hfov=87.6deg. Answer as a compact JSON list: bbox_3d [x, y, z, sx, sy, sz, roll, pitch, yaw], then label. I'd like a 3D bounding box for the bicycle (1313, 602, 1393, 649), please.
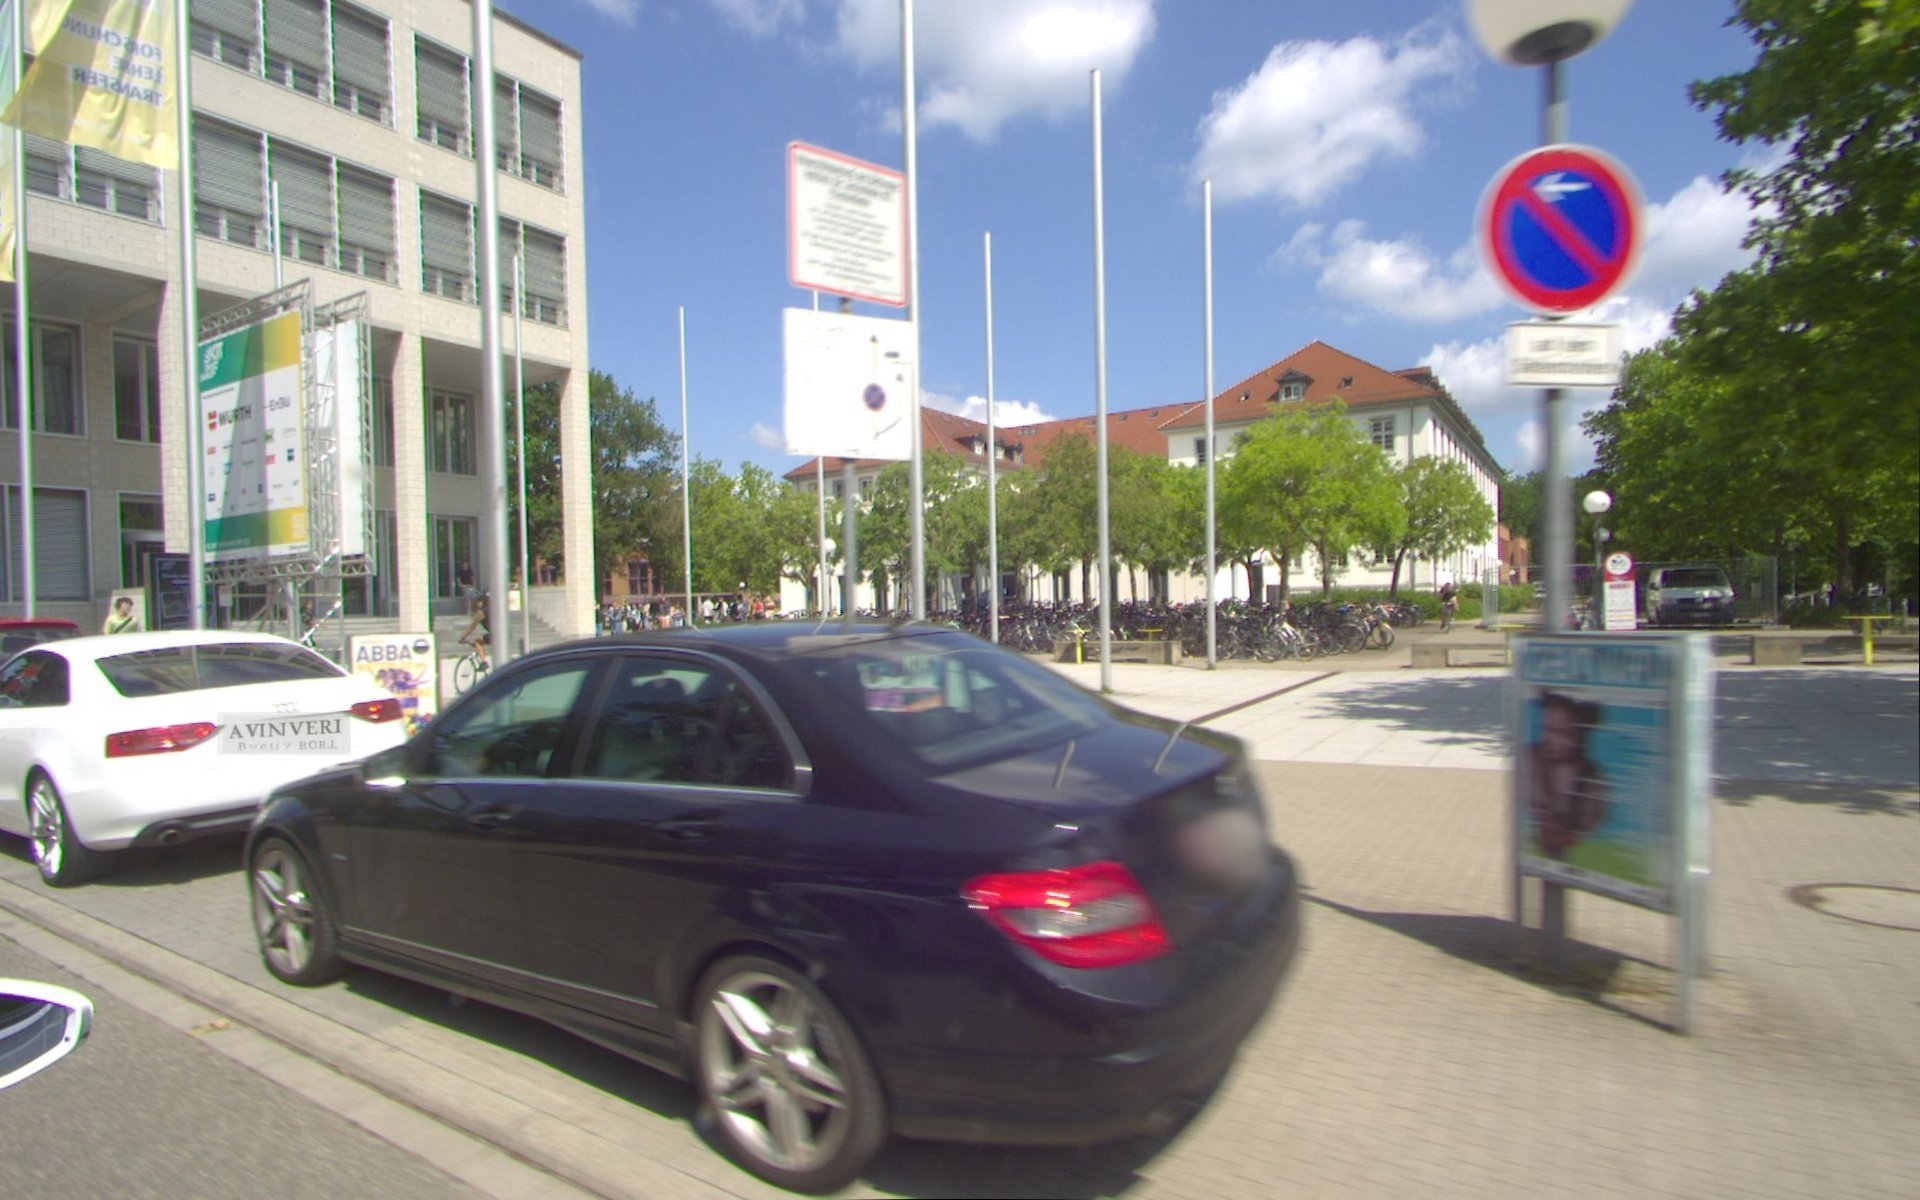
[{"bbox_3d":[9.915,0.644,25.282,1.733,1.113,0.604,-3,0,3],"label":"bicycle"}]

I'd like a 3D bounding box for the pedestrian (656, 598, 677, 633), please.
[{"bbox_3d":[-12.852,0.681,43.826,0.626,1.517,0.712,-2,-1,-35],"label":"pedestrian"}]

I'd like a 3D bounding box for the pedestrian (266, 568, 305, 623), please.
[{"bbox_3d":[-20.137,-0.131,29.896,0.707,1.606,0.715,-3,-1,36],"label":"pedestrian"}]

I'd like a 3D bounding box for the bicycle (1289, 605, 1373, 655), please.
[{"bbox_3d":[8.939,0.722,24.164,1.733,1.113,0.604,-3,0,3],"label":"bicycle"}]

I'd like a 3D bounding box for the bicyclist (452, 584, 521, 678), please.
[{"bbox_3d":[-8.219,0.522,17.379,0.919,1.585,0.660,-1,1,31],"label":"bicyclist"}]

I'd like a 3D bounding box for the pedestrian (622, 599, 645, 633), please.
[{"bbox_3d":[-14.123,0.701,43.288,0.708,1.449,0.629,-2,-1,-39],"label":"pedestrian"}]

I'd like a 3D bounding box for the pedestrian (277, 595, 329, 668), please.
[{"bbox_3d":[-15.227,0.714,23.217,0.724,1.661,0.691,-1,0,-5],"label":"pedestrian"}]

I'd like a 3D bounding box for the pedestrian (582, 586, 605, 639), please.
[{"bbox_3d":[-15.973,0.529,43.665,0.708,2.258,0.629,-2,0,-39],"label":"pedestrian"}]

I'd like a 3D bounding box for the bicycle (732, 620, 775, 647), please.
[{"bbox_3d":[-6.744,1.080,32.746,0.511,0.803,1.763,-1,0,20],"label":"bicycle"}]

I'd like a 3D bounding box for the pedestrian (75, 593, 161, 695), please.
[{"bbox_3d":[-15.029,0.766,17.879,0.987,1.763,0.915,-1,0,33],"label":"pedestrian"}]

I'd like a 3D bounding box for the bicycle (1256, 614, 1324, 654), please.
[{"bbox_3d":[9.417,0.970,28.610,1.733,1.113,0.604,-1,0,3],"label":"bicycle"}]

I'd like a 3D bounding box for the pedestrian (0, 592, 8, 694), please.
[{"bbox_3d":[-19.039,0.829,19.072,1.007,1.945,1.092,-1,0,34],"label":"pedestrian"}]

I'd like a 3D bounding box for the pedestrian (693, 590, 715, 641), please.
[{"bbox_3d":[-8.959,0.548,35.051,0.623,1.769,0.715,-2,0,-19],"label":"pedestrian"}]

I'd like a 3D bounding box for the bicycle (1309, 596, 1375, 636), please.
[{"bbox_3d":[11.582,0.482,30.375,1.733,1.113,0.604,-3,0,3],"label":"bicycle"}]

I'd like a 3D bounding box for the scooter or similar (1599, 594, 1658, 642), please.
[{"bbox_3d":[17.993,0.478,26.964,1.276,1.250,0.280,-2,1,19],"label":"scooter or similar"}]

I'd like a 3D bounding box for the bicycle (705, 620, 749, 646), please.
[{"bbox_3d":[-7.722,1.101,33.286,0.511,0.803,1.763,-1,0,20],"label":"bicycle"}]

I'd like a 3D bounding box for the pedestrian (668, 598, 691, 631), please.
[{"bbox_3d":[-12.523,0.638,44.649,0.705,1.455,0.631,-3,0,28],"label":"pedestrian"}]

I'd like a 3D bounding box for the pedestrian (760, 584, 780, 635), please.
[{"bbox_3d":[-8.647,0.447,45.611,0.622,2.258,0.716,-3,0,3],"label":"pedestrian"}]

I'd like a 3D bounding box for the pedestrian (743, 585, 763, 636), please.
[{"bbox_3d":[-9.457,0.477,45.747,0.622,2.258,0.716,-3,0,3],"label":"pedestrian"}]

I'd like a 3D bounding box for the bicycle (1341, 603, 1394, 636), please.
[{"bbox_3d":[15.177,0.723,37.328,1.733,1.113,0.516,-3,0,2],"label":"bicycle"}]

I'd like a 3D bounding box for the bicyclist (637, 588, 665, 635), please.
[{"bbox_3d":[-10.682,0.396,34.627,0.669,1.590,0.879,0,1,1],"label":"bicyclist"}]

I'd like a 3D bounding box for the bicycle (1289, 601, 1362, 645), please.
[{"bbox_3d":[9.759,0.609,26.764,1.733,1.113,0.604,-1,0,3],"label":"bicycle"}]

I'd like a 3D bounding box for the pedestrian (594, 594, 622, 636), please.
[{"bbox_3d":[-14.744,0.616,41.950,0.862,1.724,0.629,-2,0,-39],"label":"pedestrian"}]

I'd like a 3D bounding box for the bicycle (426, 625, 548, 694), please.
[{"bbox_3d":[-8.214,1.003,17.363,2.123,1.093,0.899,-1,1,32],"label":"bicycle"}]

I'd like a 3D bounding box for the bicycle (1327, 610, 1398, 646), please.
[{"bbox_3d":[11.309,0.784,28.136,1.733,0.967,0.604,-1,0,3],"label":"bicycle"}]

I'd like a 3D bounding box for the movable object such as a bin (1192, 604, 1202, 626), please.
[{"bbox_3d":[11.402,0.710,48.179,0.383,1.069,0.366,1,1,28],"label":"movable object such as a bin"}]

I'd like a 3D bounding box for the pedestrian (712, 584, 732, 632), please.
[{"bbox_3d":[-11.382,0.390,47.905,0.702,2.258,0.634,-3,0,3],"label":"pedestrian"}]

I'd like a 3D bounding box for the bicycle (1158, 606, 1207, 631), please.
[{"bbox_3d":[8.619,0.735,38.790,1.733,0.880,0.604,-3,-1,2],"label":"bicycle"}]

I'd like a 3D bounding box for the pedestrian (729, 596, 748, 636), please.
[{"bbox_3d":[-10.116,0.724,45.756,0.622,1.800,0.716,-3,0,3],"label":"pedestrian"}]

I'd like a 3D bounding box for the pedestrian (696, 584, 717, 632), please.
[{"bbox_3d":[-12.155,0.370,48.057,0.702,2.258,0.634,-3,0,3],"label":"pedestrian"}]

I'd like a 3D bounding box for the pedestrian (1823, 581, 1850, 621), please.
[{"bbox_3d":[40.794,0.059,46.603,0.779,1.804,0.681,-2,0,-28],"label":"pedestrian"}]

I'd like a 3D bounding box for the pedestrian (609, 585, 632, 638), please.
[{"bbox_3d":[-14.809,0.505,43.719,0.708,2.258,0.629,-2,0,-39],"label":"pedestrian"}]

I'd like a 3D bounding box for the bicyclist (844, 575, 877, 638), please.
[{"bbox_3d":[-3.074,0.207,30.955,0.748,1.869,0.662,-3,0,16],"label":"bicyclist"}]

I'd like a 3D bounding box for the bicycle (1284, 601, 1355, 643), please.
[{"bbox_3d":[9.868,0.610,27.503,1.733,1.113,0.604,-1,0,3],"label":"bicycle"}]

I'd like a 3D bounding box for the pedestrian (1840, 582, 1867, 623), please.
[{"bbox_3d":[39.840,0.119,44.662,0.780,1.804,0.680,-2,0,-34],"label":"pedestrian"}]

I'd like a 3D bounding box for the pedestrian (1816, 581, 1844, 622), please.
[{"bbox_3d":[39.402,0.072,45.348,0.780,1.804,0.680,-2,0,-32],"label":"pedestrian"}]

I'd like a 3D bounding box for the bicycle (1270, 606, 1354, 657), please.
[{"bbox_3d":[8.252,0.741,23.517,1.733,1.113,0.604,-3,0,3],"label":"bicycle"}]

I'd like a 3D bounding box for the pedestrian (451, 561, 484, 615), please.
[{"bbox_3d":[-16.915,-0.408,34.376,0.707,1.821,0.715,-3,0,36],"label":"pedestrian"}]

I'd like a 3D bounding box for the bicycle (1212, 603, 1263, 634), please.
[{"bbox_3d":[10.706,0.700,38.668,1.733,1.113,0.604,-3,0,2],"label":"bicycle"}]

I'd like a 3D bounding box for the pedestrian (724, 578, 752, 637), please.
[{"bbox_3d":[-8.622,0.298,38.897,0.842,2.258,0.631,-2,0,-30],"label":"pedestrian"}]

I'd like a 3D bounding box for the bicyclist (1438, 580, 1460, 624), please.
[{"bbox_3d":[15.127,0.061,30.975,0.598,1.338,0.740,1,1,25],"label":"bicyclist"}]

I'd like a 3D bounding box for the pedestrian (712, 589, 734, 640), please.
[{"bbox_3d":[-8.371,0.527,35.399,0.623,1.769,0.715,-2,0,-19],"label":"pedestrian"}]

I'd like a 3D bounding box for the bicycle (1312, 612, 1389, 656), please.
[{"bbox_3d":[10.166,0.878,26.095,1.733,1.113,0.604,-1,0,3],"label":"bicycle"}]
